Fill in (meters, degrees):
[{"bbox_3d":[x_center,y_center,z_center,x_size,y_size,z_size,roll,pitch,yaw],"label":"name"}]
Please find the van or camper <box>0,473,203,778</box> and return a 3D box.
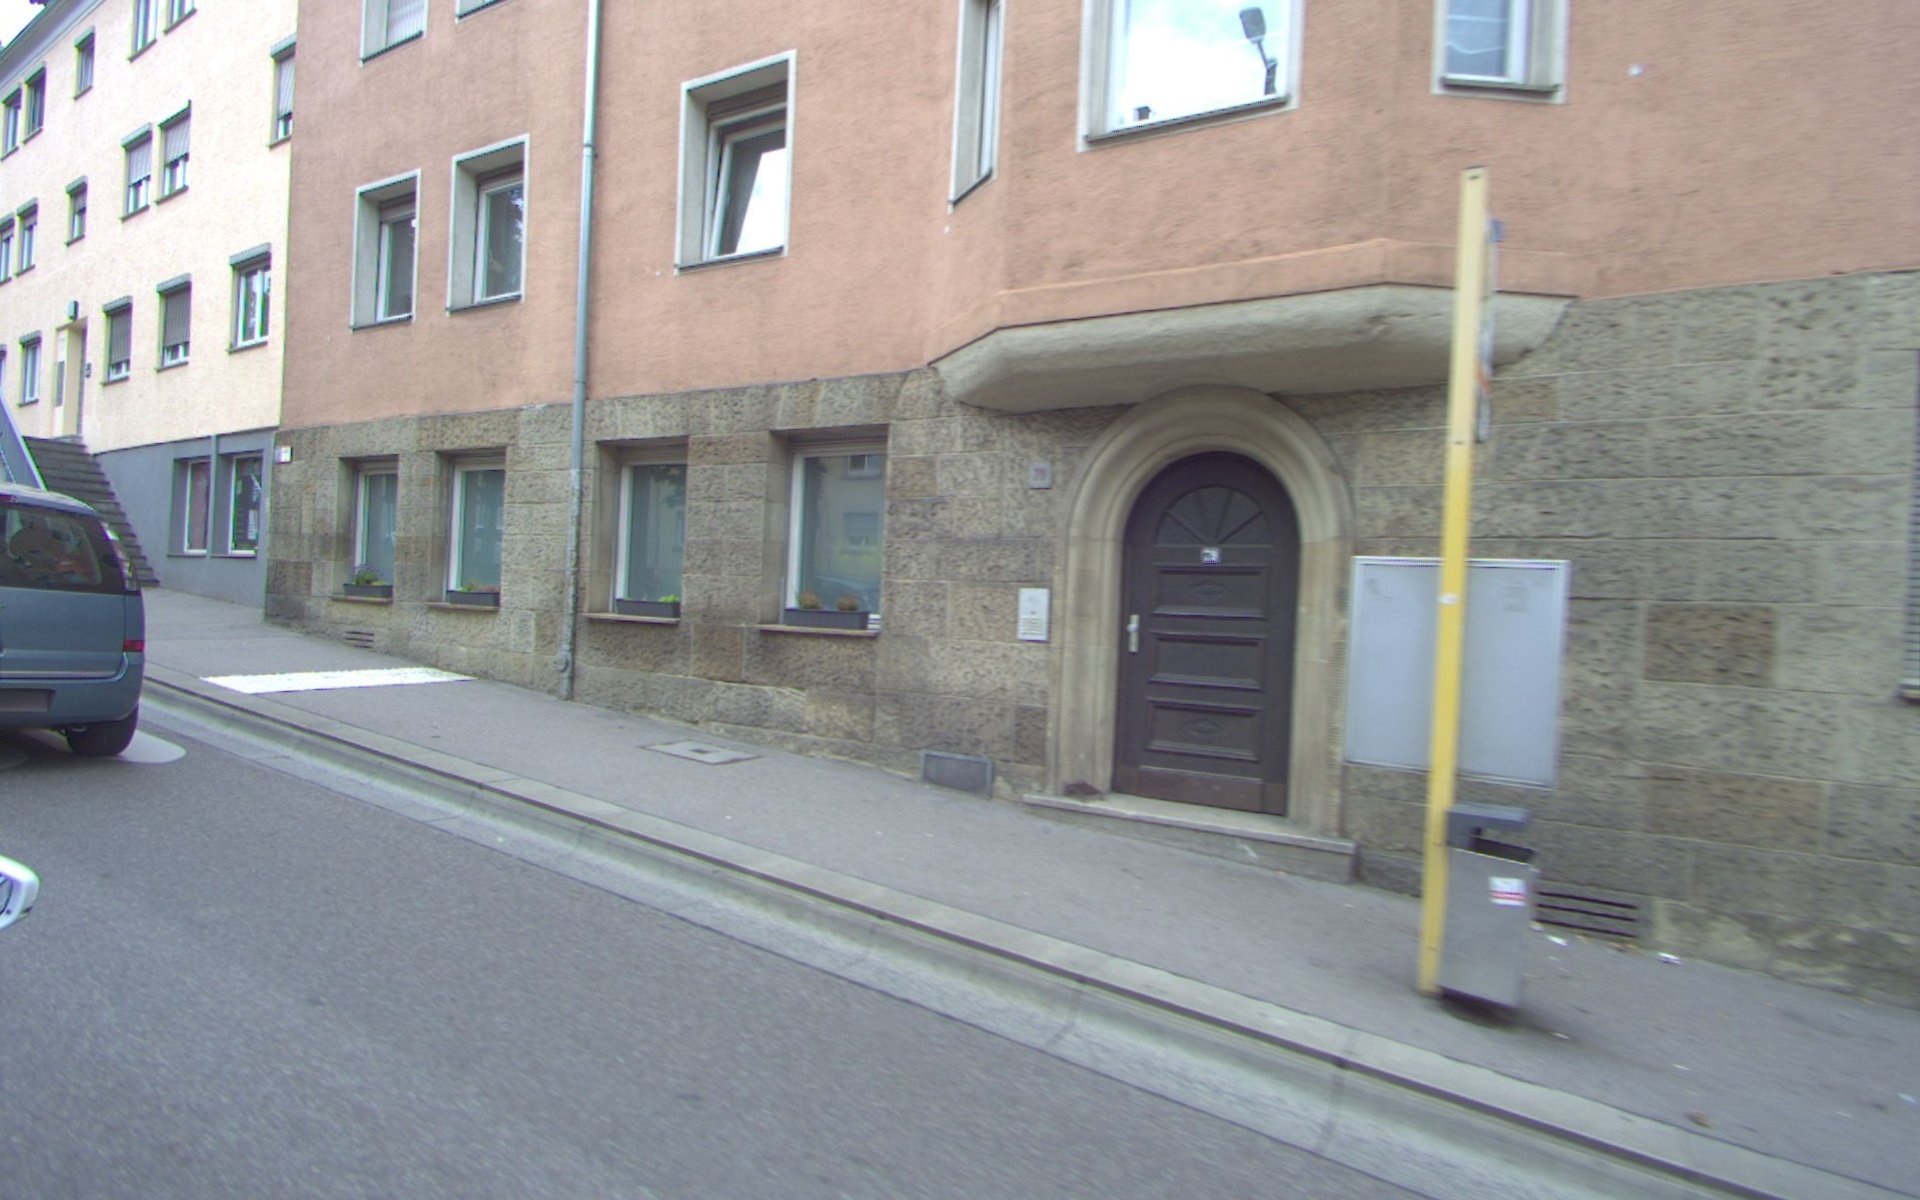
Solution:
[{"bbox_3d":[-6.564,-0.032,6.158,3.585,1.597,1.738,7,-1,31],"label":"van or camper"}]
